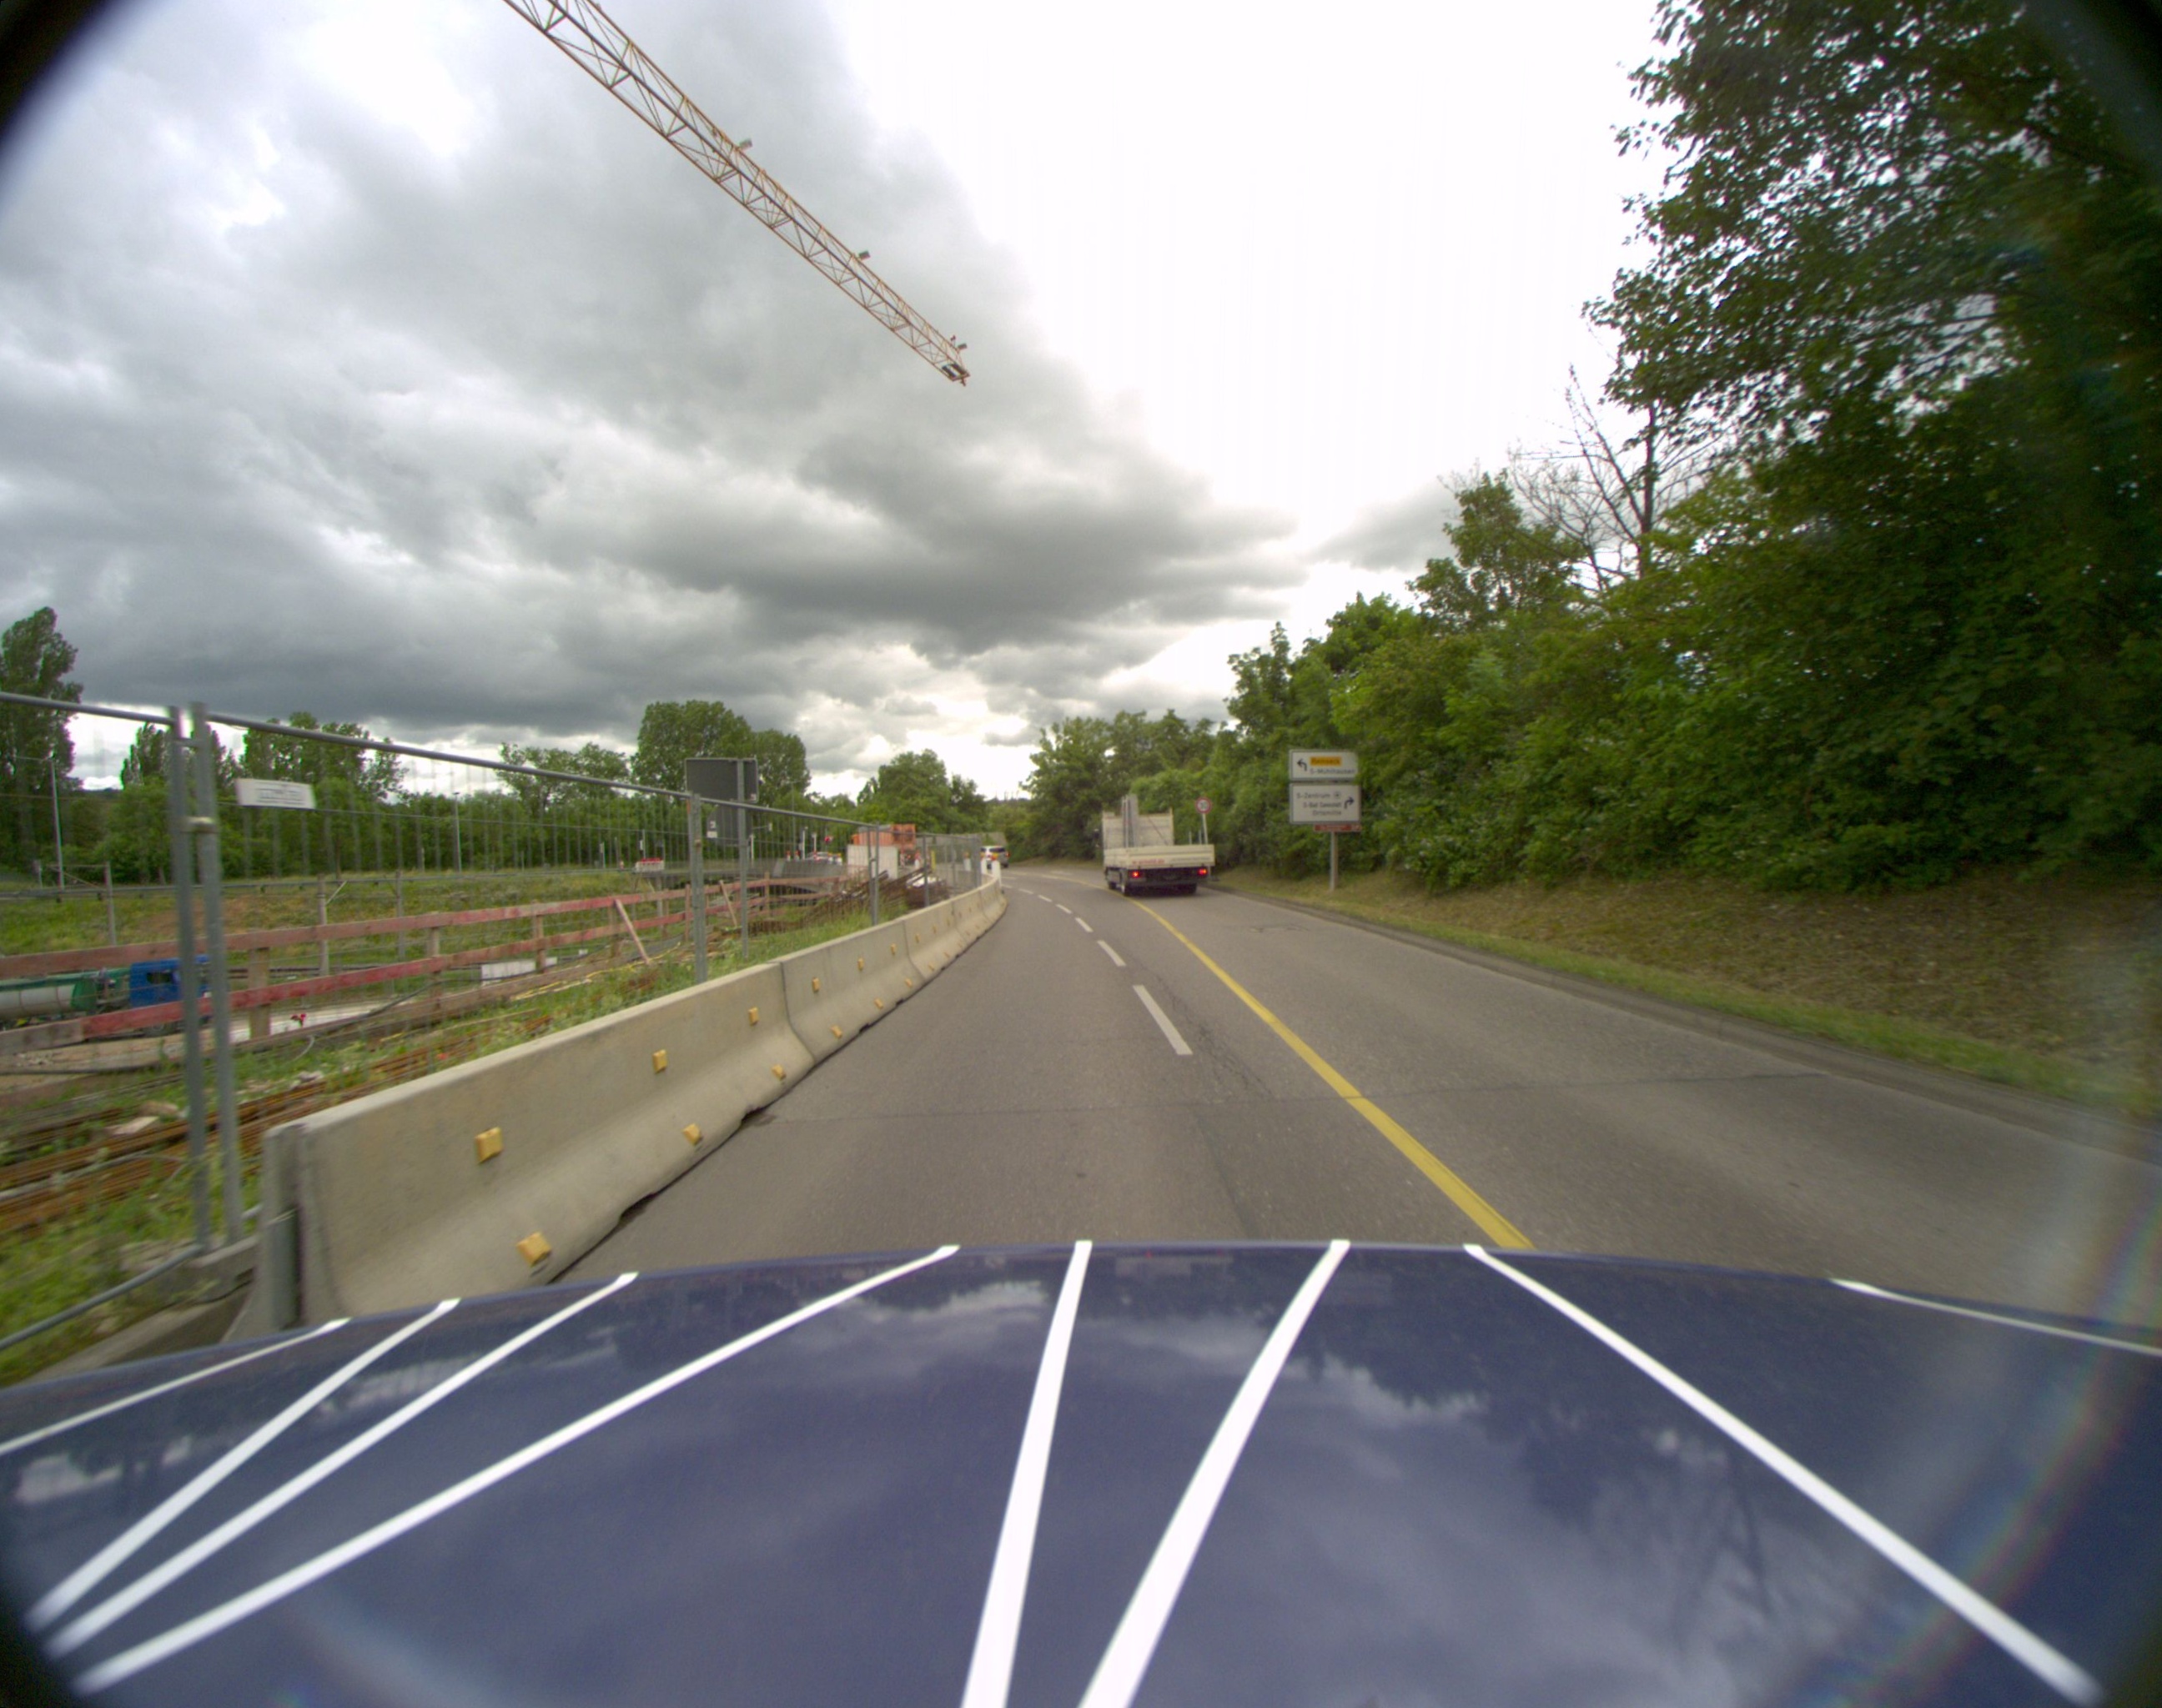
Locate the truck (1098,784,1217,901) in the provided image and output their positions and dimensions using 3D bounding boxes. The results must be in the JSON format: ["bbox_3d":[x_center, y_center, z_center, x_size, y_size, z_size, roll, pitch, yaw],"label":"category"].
[{"bbox_3d":[2.283,-0.397,25.532,2.758,3.239,7.607,-3,1,-3],"label":"truck"}]

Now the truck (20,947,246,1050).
[{"bbox_3d":[-45.120,6.785,36.436,6.137,3.742,2.415,-4,2,-21],"label":"truck"}]

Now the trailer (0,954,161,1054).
[{"bbox_3d":[-49.459,7.102,34.756,9.149,3.742,2.415,-4,2,-21],"label":"trailer"}]

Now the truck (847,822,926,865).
[{"bbox_3d":[-19.042,-0.929,73.935,3.047,3.876,9.975,-4,2,-41],"label":"truck"}]

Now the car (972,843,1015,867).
[{"bbox_3d":[-6.408,0.052,55.432,1.897,1.554,4.092,-4,2,-25],"label":"car"}]
